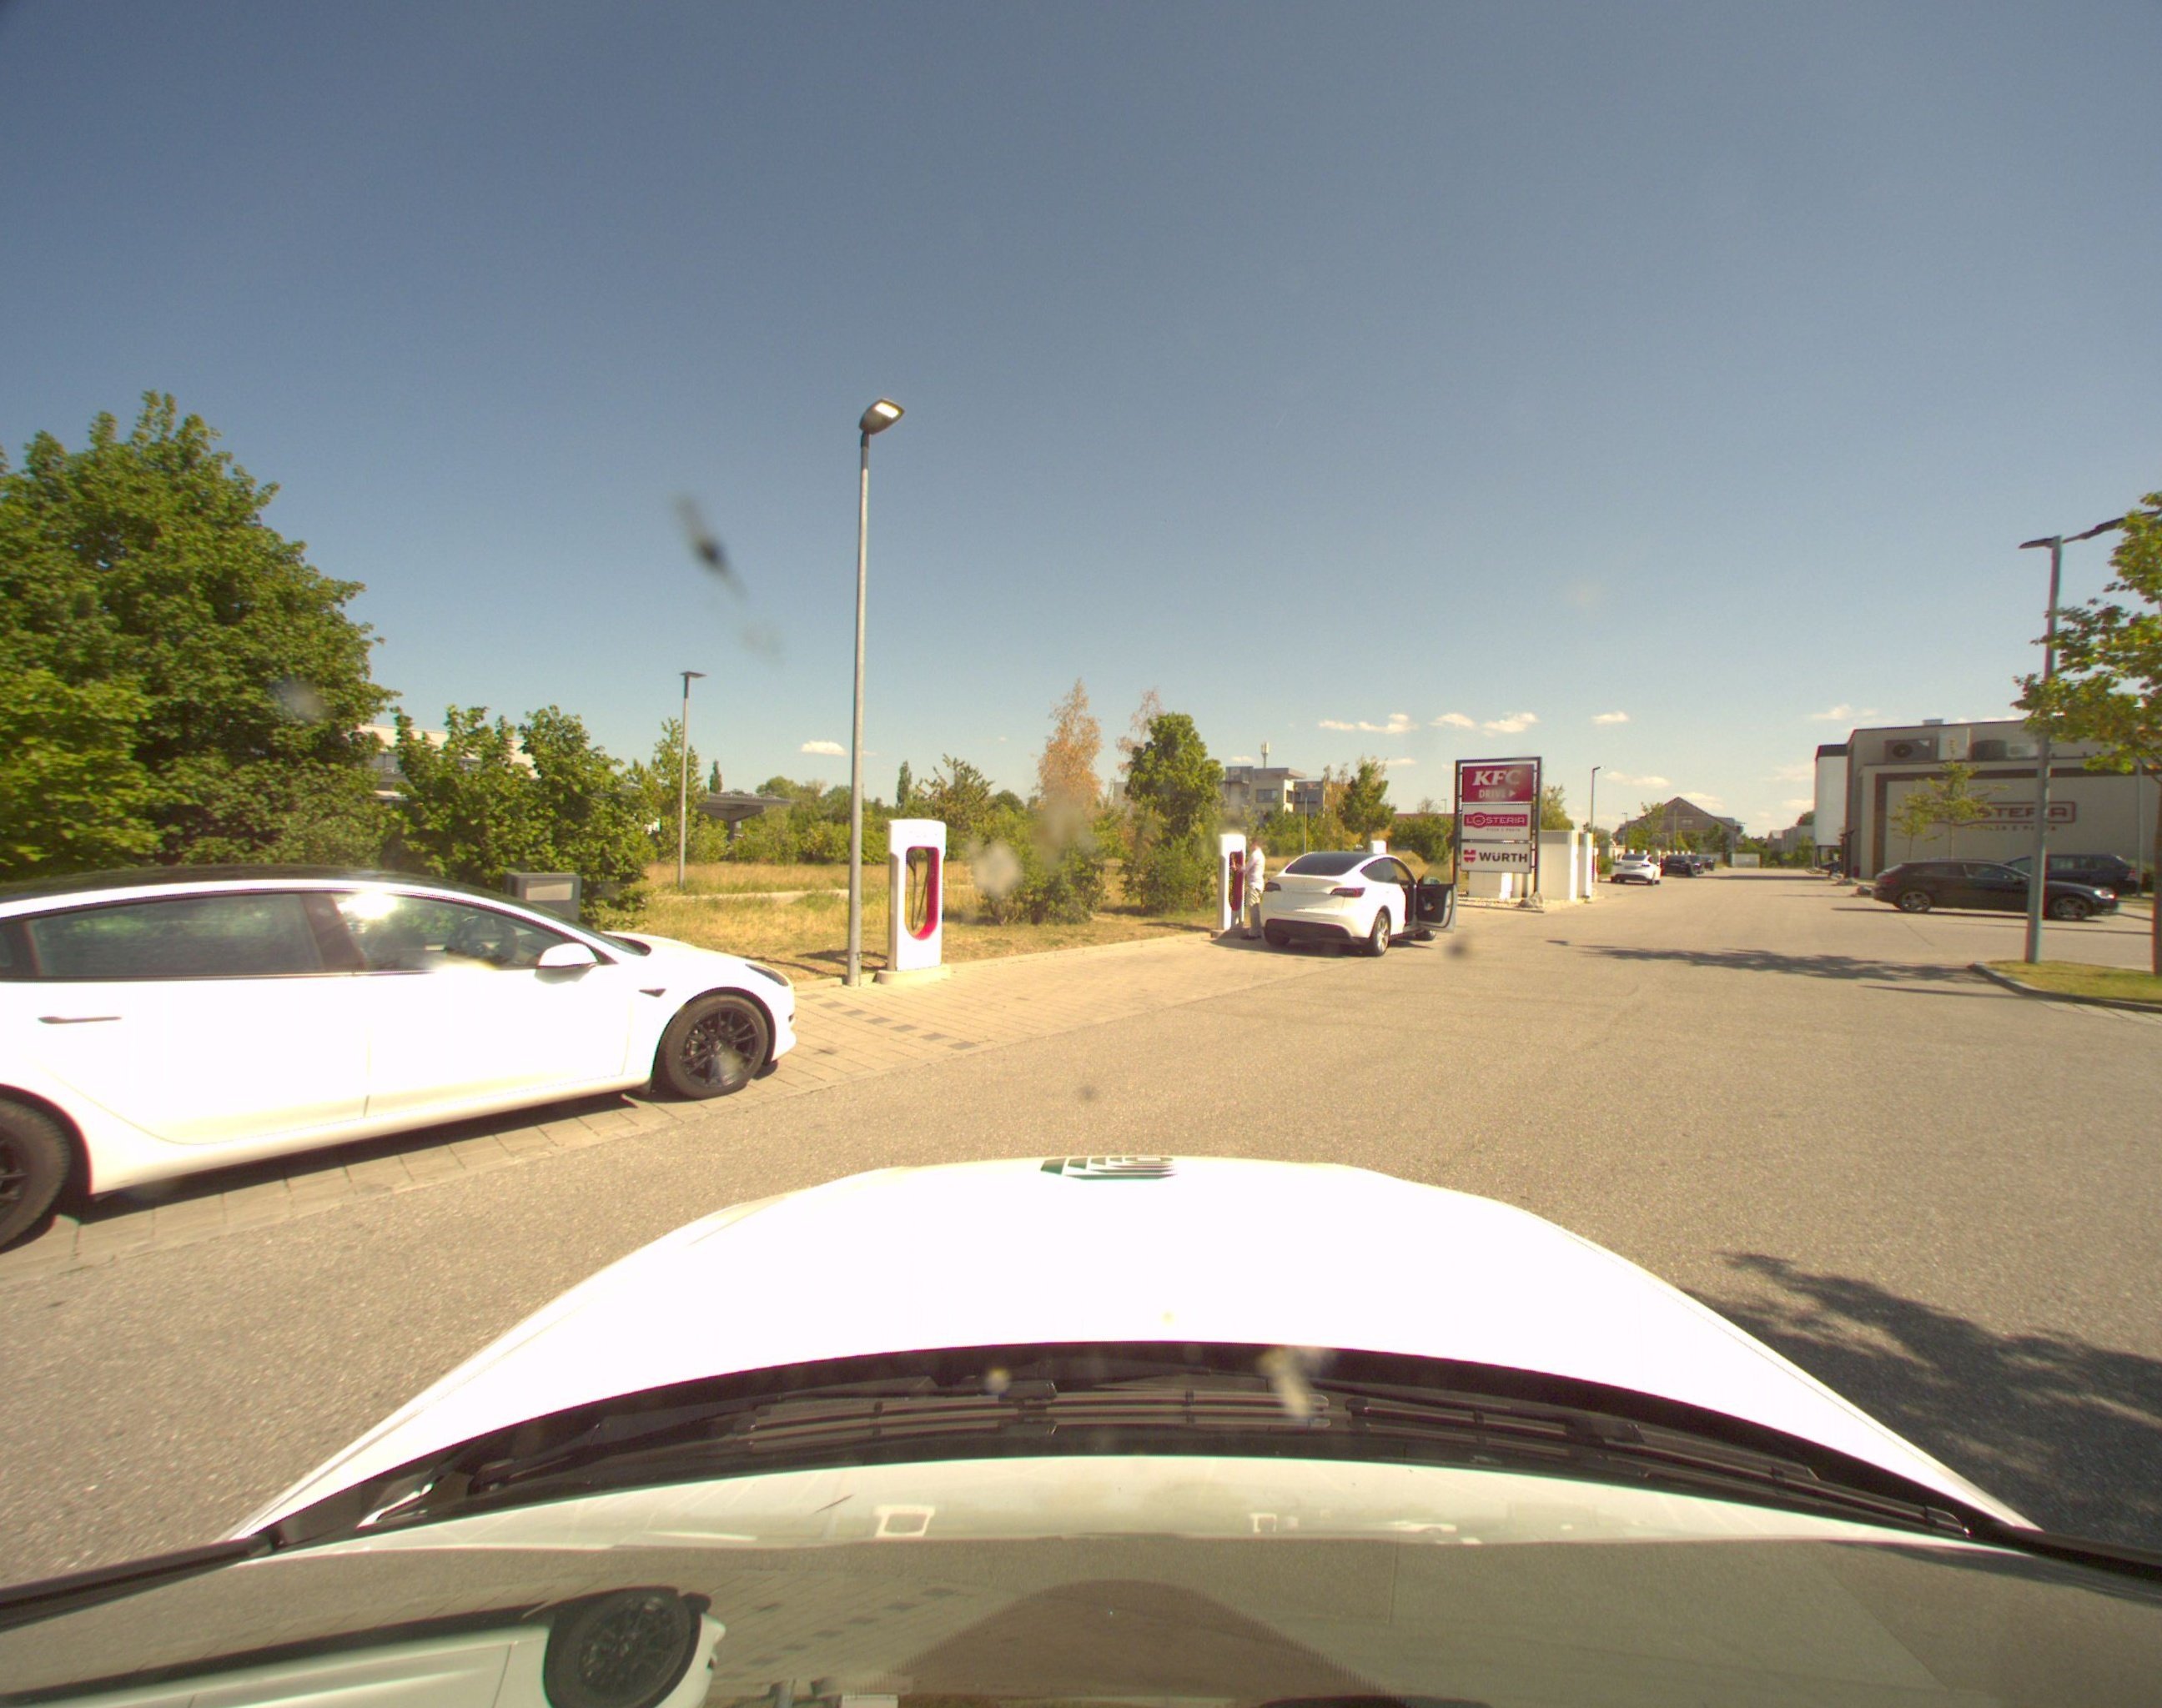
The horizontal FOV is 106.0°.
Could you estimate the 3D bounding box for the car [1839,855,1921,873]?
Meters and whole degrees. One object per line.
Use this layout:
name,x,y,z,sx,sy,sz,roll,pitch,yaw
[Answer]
car,56.119,0.706,57.329,3.949,1.156,2.013,1,1,40

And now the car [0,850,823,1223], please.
car,-3.953,0.692,4.544,1.800,1.377,4.475,2,1,43

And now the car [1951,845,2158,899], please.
car,33.598,0.562,28.319,4.328,1.685,1.652,2,1,36

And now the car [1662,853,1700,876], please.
car,44.126,0.751,59.852,1.926,1.568,4.025,2,1,41

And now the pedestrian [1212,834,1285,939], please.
pedestrian,3.007,0.555,14.604,1.022,1.800,0.741,2,1,39

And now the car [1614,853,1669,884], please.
car,30.086,0.732,43.645,1.926,1.568,4.024,2,1,41

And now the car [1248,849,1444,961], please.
car,4.804,0.742,14.298,1.846,1.600,4.517,2,1,37

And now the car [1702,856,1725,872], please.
car,63.445,0.999,81.637,1.726,1.568,4.025,2,1,39

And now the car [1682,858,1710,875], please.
car,52.066,1.030,68.946,1.726,1.387,4.025,2,1,39

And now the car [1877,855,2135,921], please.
car,23.518,0.797,20.995,4.161,1.441,1.709,2,1,40
